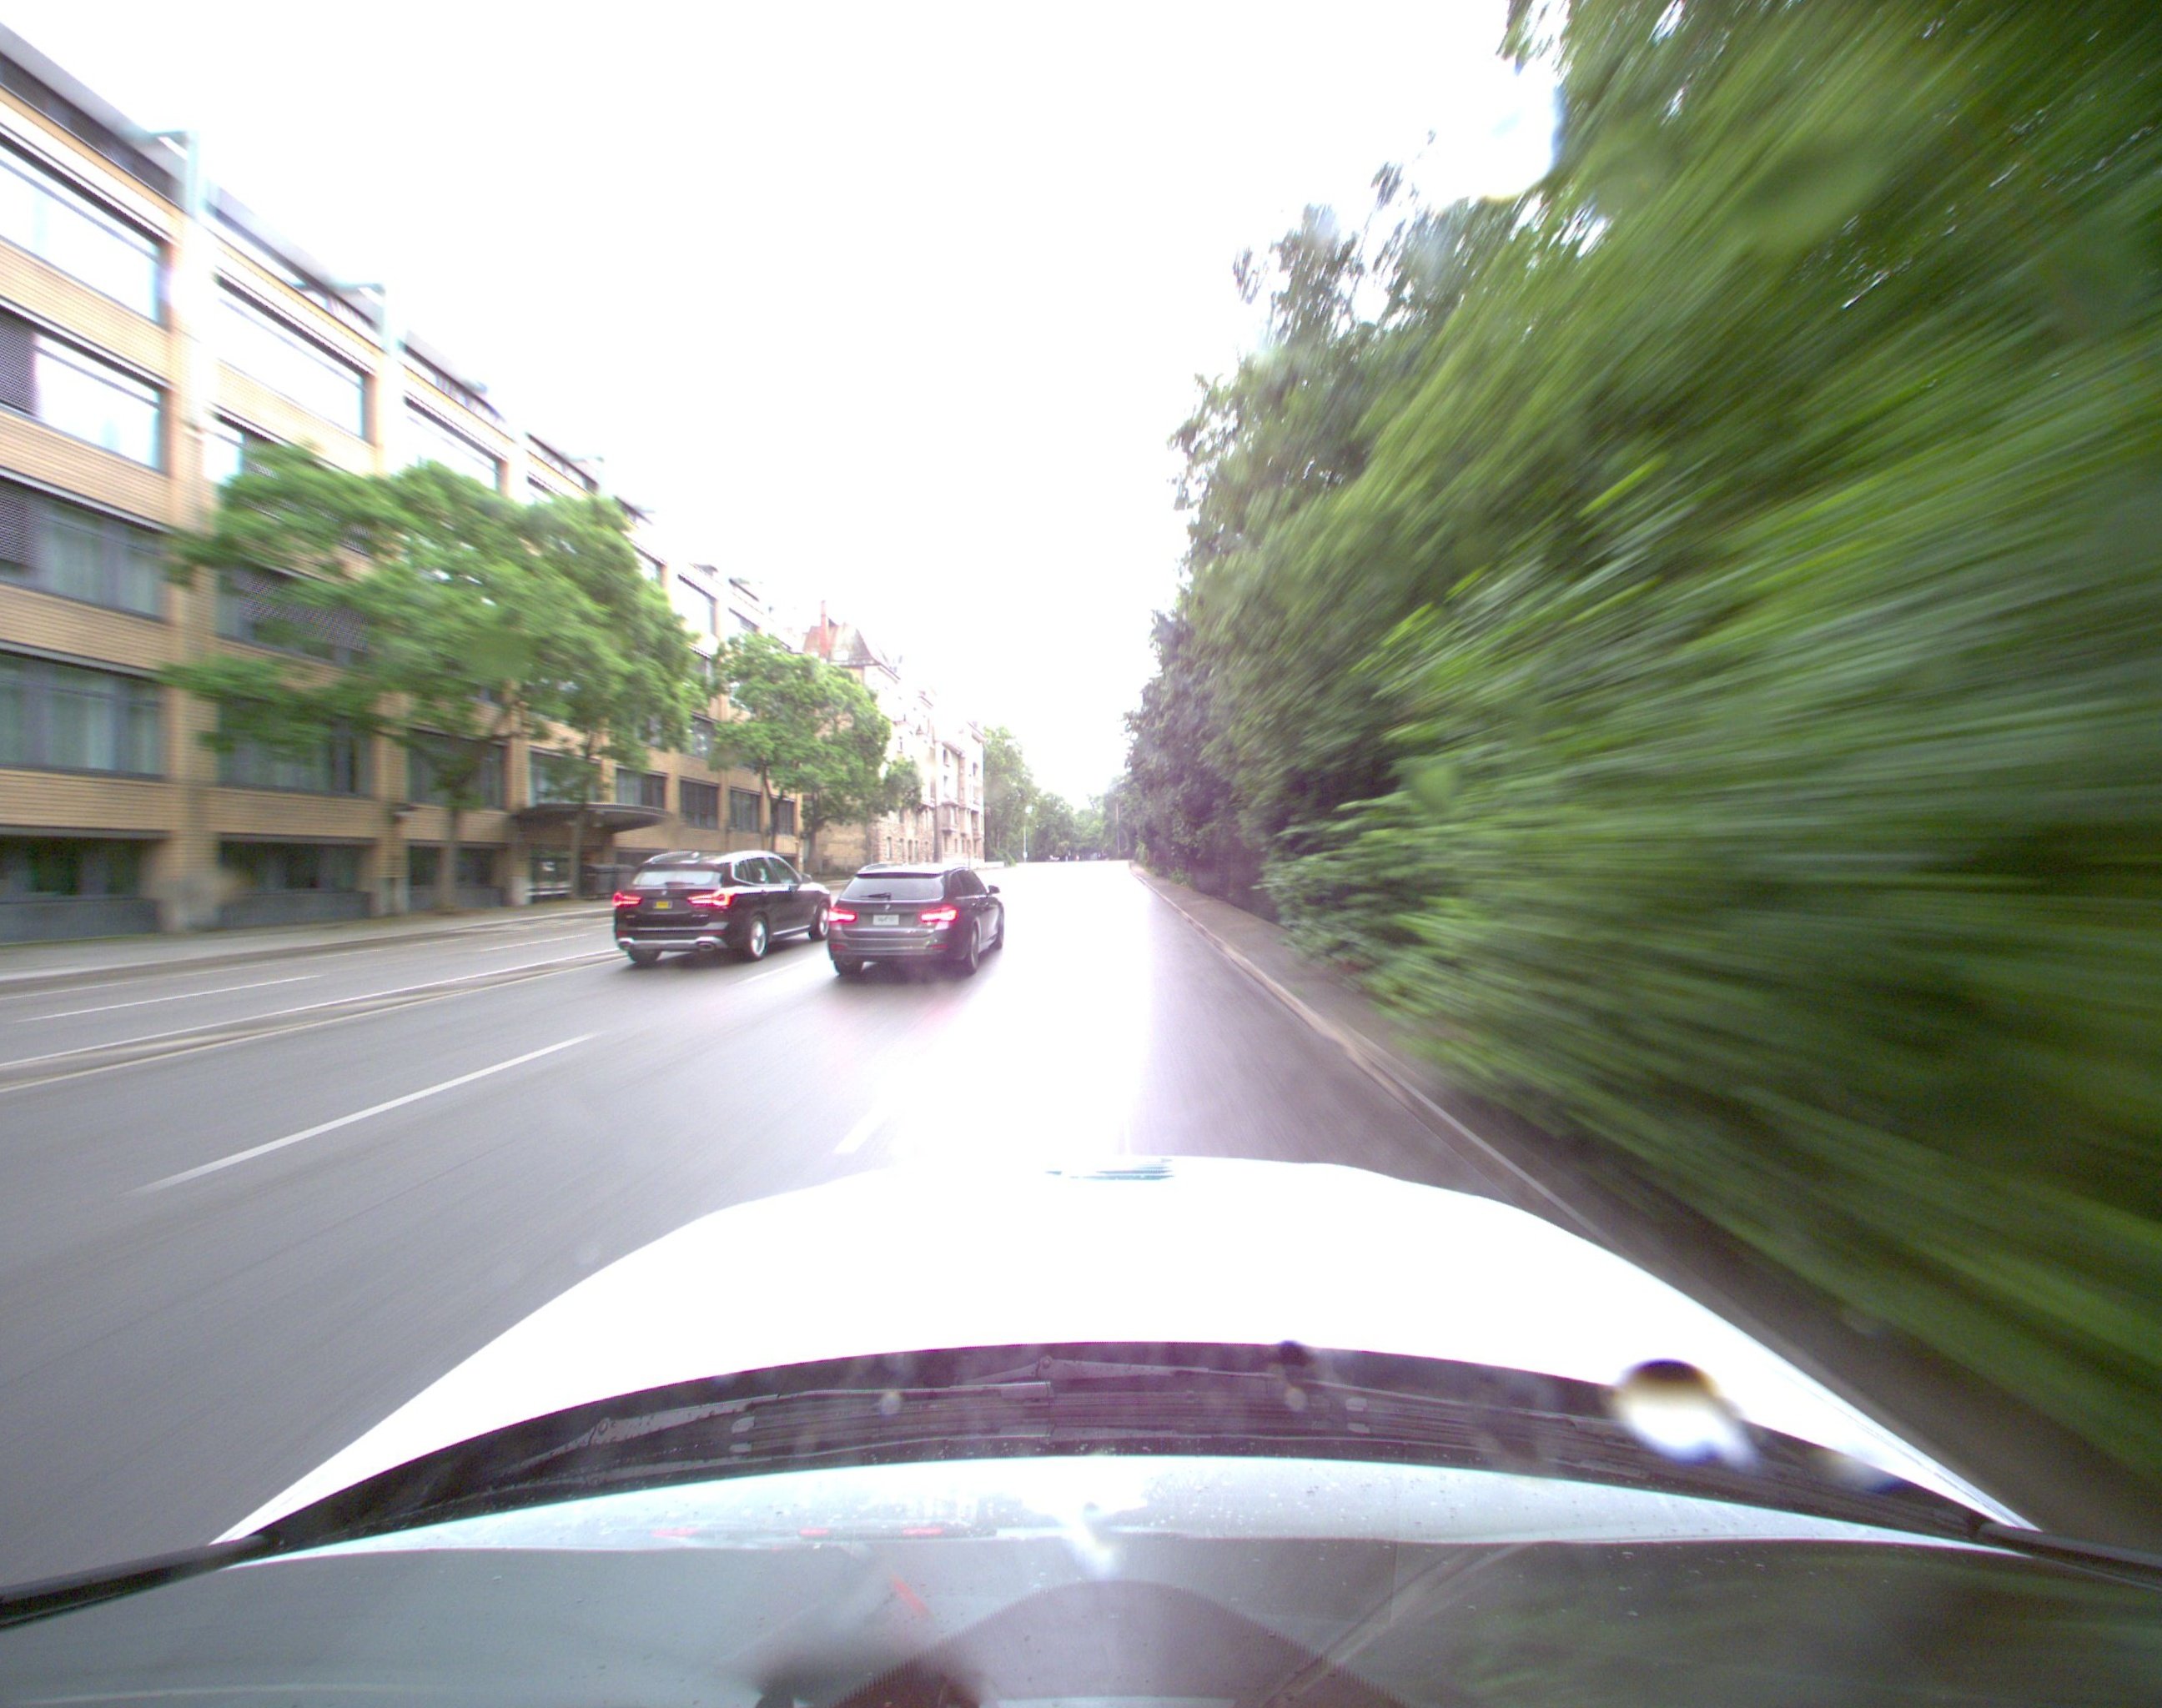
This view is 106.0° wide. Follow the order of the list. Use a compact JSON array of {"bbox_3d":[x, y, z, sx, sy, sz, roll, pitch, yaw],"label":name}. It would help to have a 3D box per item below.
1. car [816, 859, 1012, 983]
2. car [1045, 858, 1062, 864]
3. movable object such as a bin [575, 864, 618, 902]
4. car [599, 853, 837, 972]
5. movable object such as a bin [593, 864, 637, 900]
[{"bbox_3d":[-2.145,0.798,11.732,1.751,1.432,4.414,0,0,2],"label":"car"},{"bbox_3d":[-6.838,1.666,199.729,1.702,1.427,4.317,3,-4,-44],"label":"car"},{"bbox_3d":[-19.339,1.142,32.546,0.970,1.436,1.313,0,0,-2],"label":"movable object such as a bin"},{"bbox_3d":[-5.608,0.805,13.285,1.751,1.586,4.414,-1,0,2],"label":"car"},{"bbox_3d":[-19.369,1.150,33.900,1.065,1.436,1.371,0,0,-2],"label":"movable object such as a bin"}]
